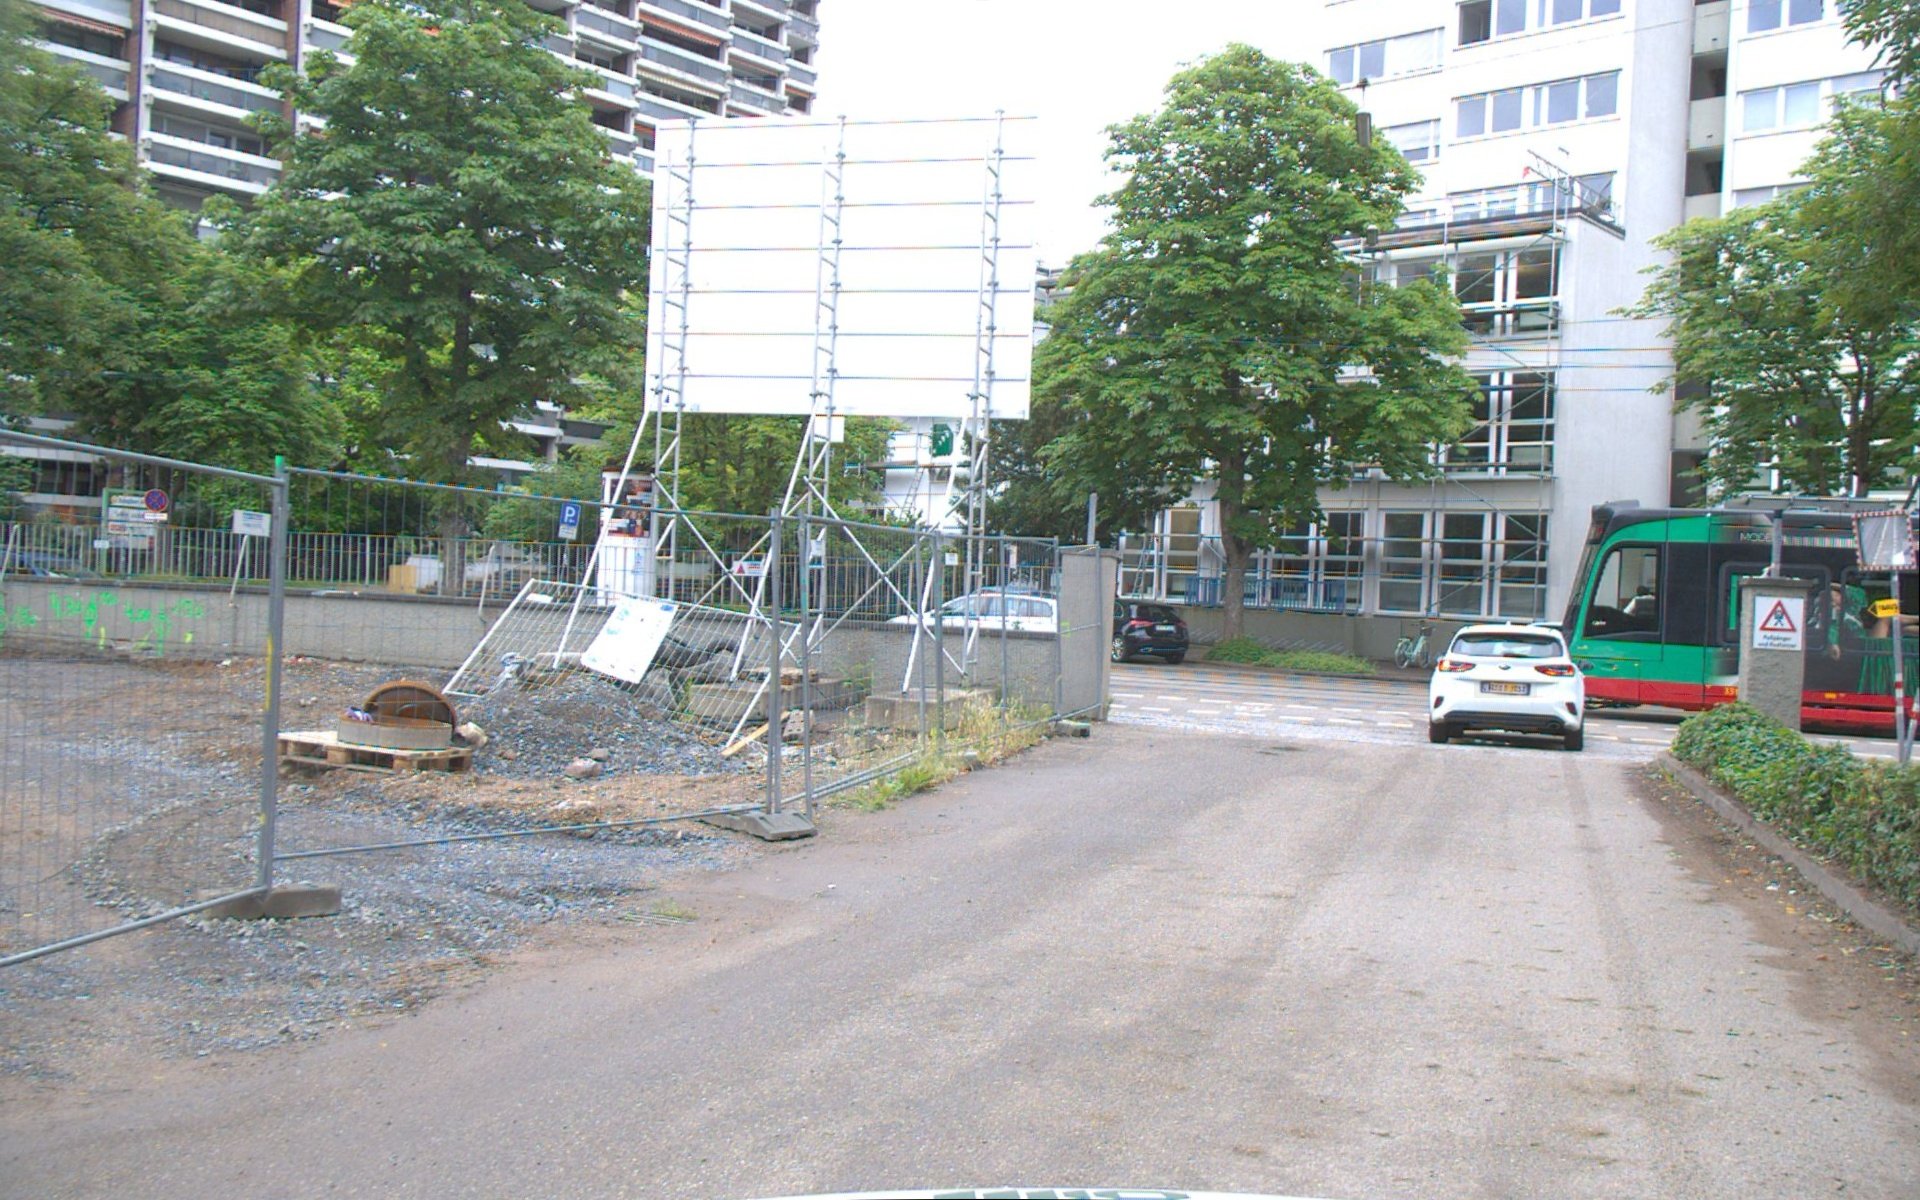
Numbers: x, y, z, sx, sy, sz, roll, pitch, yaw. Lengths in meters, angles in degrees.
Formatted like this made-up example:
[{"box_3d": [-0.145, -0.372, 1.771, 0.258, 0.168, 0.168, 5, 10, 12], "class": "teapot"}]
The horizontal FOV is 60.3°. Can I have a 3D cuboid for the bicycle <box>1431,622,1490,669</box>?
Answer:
[{"box_3d": [12.872, 1.159, 42.520, 0.634, 1.093, 2.301, 3, 2, 38], "class": "bicycle"}]

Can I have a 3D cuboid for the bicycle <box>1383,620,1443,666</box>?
[{"box_3d": [11.887, 1.123, 43.352, 0.634, 1.093, 2.301, 3, 2, 38], "class": "bicycle"}]

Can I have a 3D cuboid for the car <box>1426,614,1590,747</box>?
[{"box_3d": [7.024, 1.019, 20.959, 1.739, 1.458, 3.978, 2, -2, 21], "class": "car"}]

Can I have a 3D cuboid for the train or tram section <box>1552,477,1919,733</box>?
[{"box_3d": [15.640, 0.178, 25.251, 12.155, 3.677, 2.670, 2, 0, 16], "class": "train or tram section"}]

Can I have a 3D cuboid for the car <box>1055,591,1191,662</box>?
[{"box_3d": [3.785, 0.600, 38.898, 1.595, 1.537, 3.307, 2, 0, -28], "class": "car"}]

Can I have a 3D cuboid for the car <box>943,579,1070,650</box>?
[{"box_3d": [1.072, 0.327, 39.758, 1.595, 1.564, 3.307, 2, 0, -28], "class": "car"}]

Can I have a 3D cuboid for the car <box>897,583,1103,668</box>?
[{"box_3d": [0.851, 0.506, 34.373, 3.903, 1.545, 1.732, 2, 0, 17], "class": "car"}]
